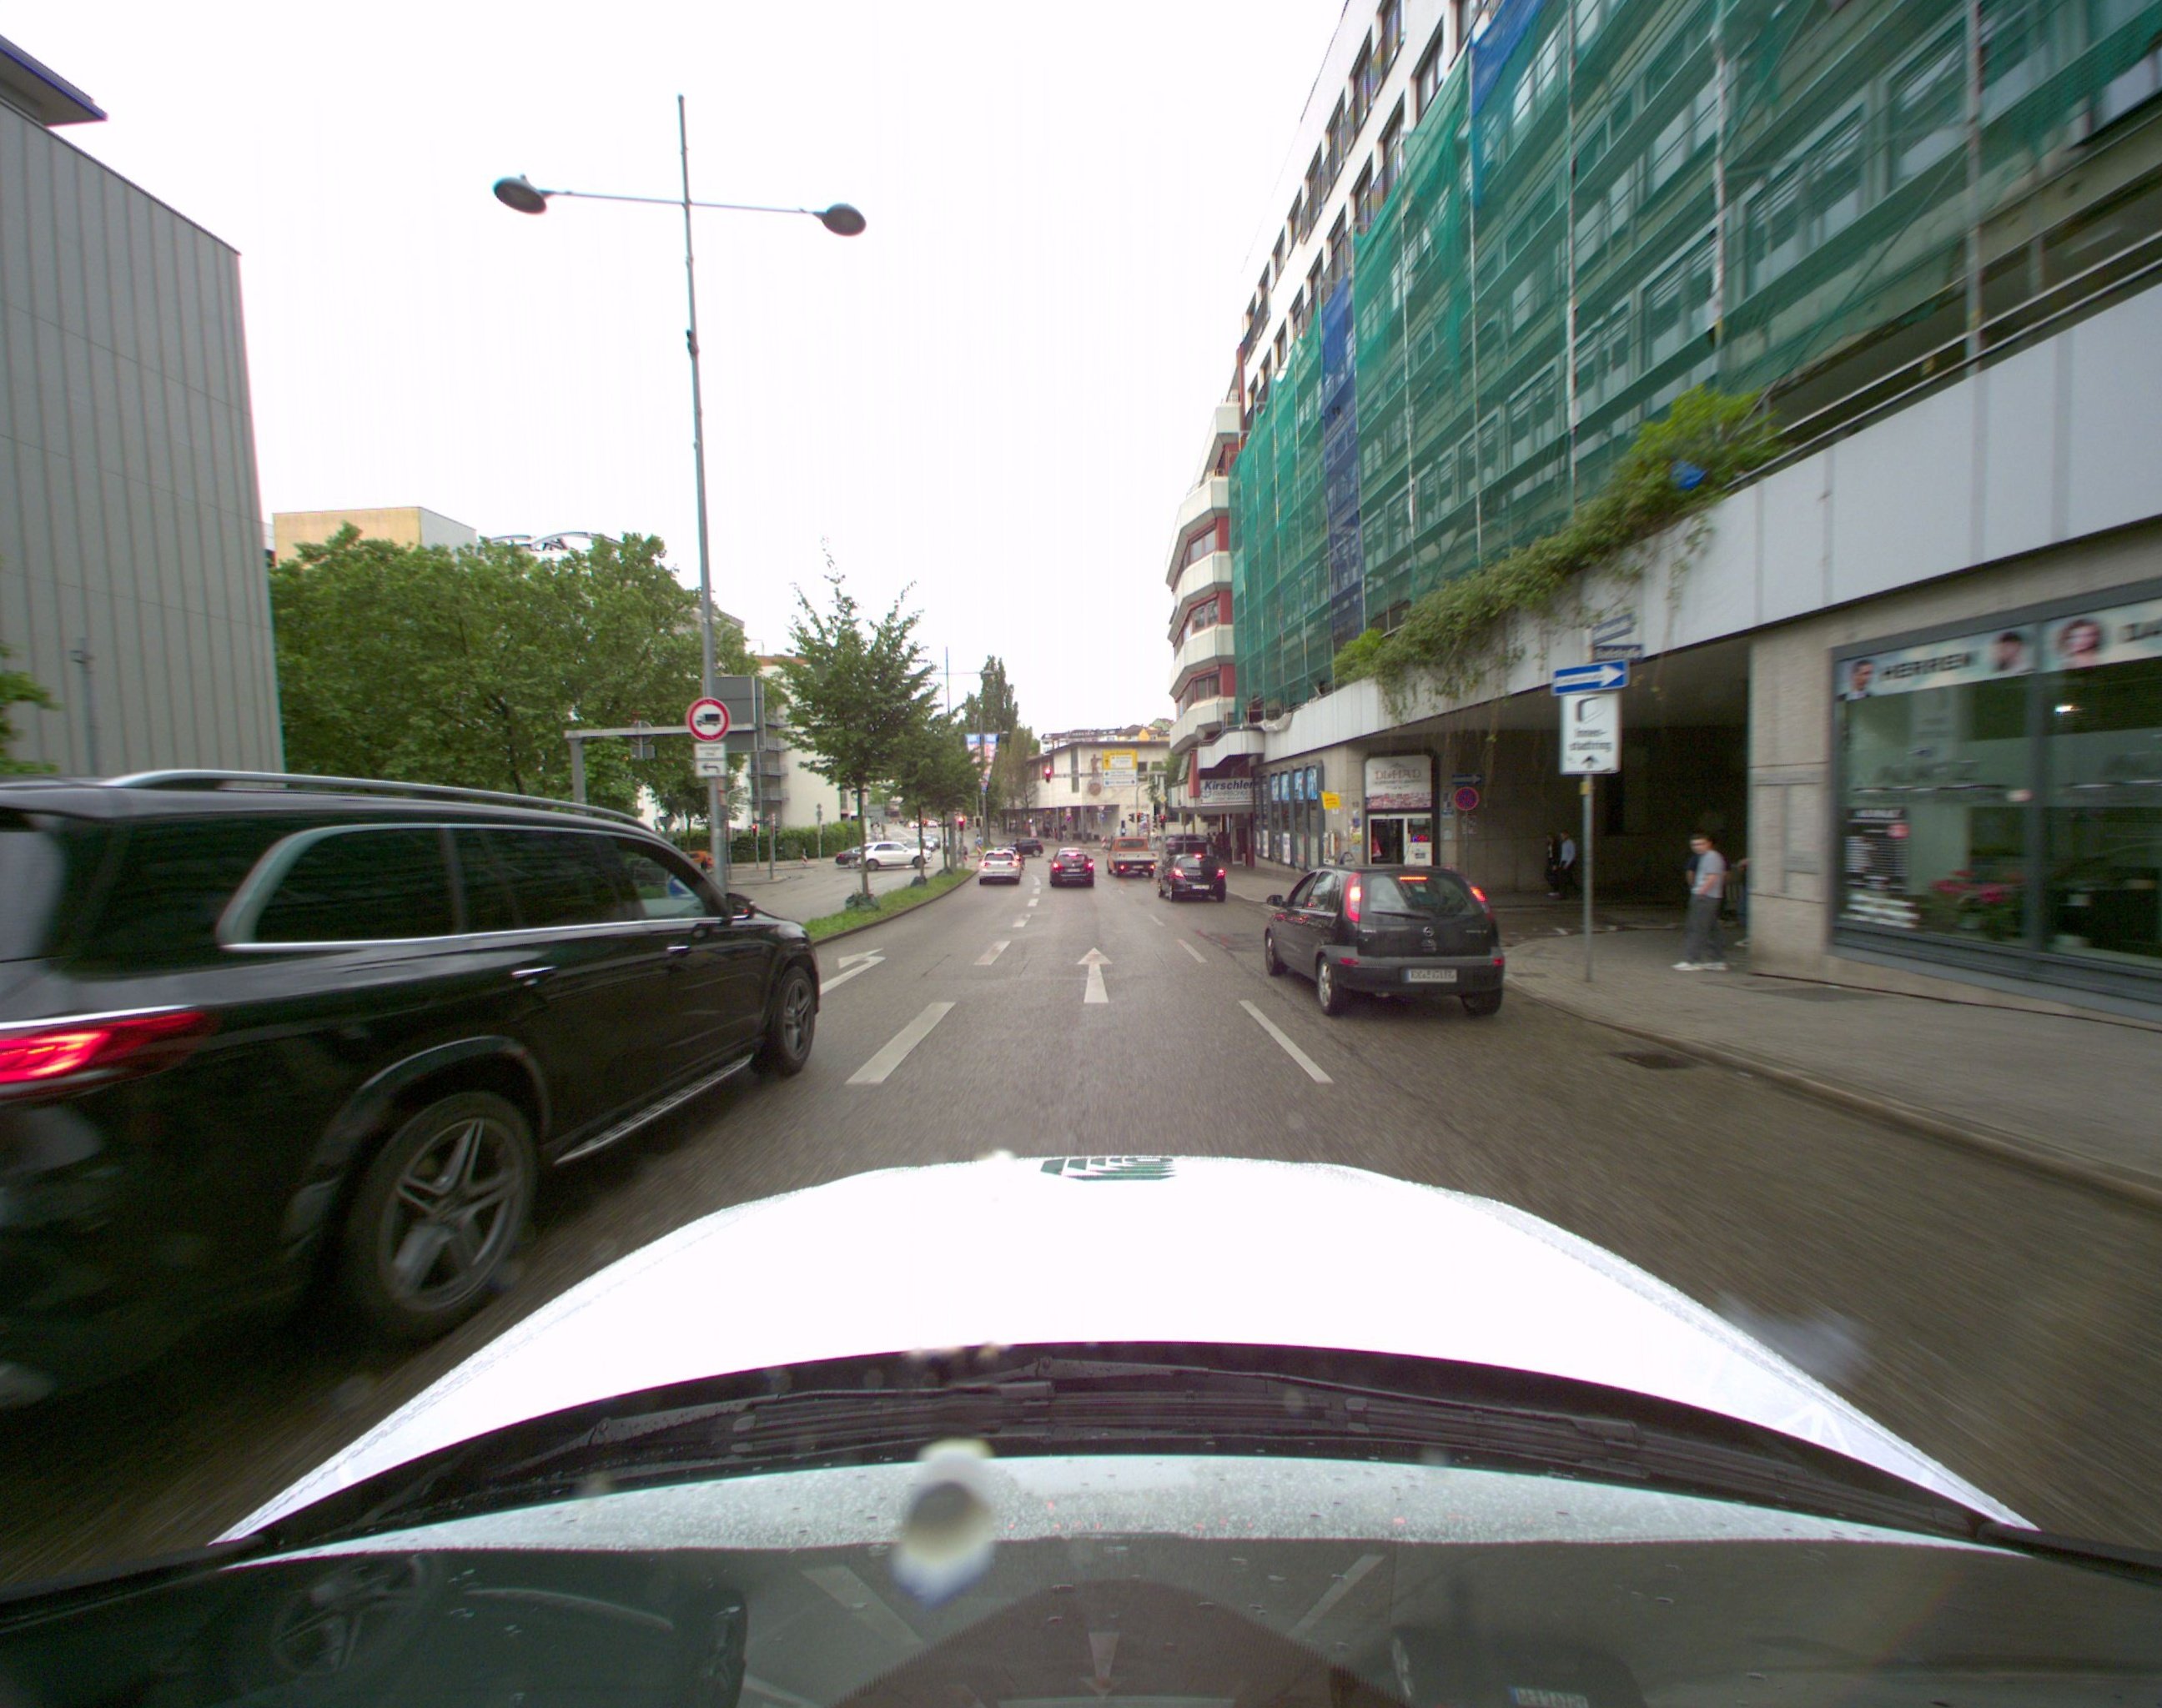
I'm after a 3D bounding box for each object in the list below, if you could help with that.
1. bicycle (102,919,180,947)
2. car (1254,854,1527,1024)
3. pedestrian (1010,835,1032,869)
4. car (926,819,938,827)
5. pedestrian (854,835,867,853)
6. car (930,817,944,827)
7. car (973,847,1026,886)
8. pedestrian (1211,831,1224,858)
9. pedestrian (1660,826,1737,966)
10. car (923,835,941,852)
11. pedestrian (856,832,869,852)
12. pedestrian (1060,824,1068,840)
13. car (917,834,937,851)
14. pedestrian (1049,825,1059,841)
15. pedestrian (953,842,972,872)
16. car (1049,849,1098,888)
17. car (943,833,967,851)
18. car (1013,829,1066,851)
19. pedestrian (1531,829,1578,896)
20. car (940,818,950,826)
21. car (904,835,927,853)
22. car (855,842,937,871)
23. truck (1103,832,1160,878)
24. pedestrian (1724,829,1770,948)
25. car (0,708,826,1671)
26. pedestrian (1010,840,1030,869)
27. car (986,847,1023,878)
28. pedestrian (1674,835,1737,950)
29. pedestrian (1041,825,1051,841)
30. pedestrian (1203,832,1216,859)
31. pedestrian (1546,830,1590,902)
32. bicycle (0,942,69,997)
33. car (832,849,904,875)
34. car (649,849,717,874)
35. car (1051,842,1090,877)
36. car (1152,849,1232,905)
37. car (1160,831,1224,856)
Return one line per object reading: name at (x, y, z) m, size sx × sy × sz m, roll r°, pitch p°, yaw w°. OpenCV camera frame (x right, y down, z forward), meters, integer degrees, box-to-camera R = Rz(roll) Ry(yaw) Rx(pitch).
bicycle at (-34.397, 2.871, 29.813) m, size 1.877 × 0.891 × 0.748 m, roll -2°, pitch 0°, yaw -4°
car at (3.071, 0.729, 8.922) m, size 1.710 × 1.420 × 3.773 m, roll 0°, pitch 1°, yaw 3°
pedestrian at (-3.438, -0.126, 46.871) m, size 1.058 × 1.882 × 0.840 m, roll -3°, pitch 1°, yaw 5°
car at (-30.911, -6.454, 168.637) m, size 1.998 × 1.596 × 3.978 m, roll -2°, pitch 1°, yaw -16°
pedestrian at (-20.286, -0.908, 75.003) m, size 0.931 × 1.608 × 0.557 m, roll -4°, pitch 1°, yaw -42°
car at (-31.572, -7.027, 178.719) m, size 2.003 × 2.013 × 3.969 m, roll -2°, pitch 1°, yaw -24°
car at (-3.598, 0.505, 36.454) m, size 1.944 × 1.574 × 3.999 m, roll -2°, pitch 1°, yaw -1°
pedestrian at (8.819, -0.596, 52.661) m, size 0.577 × 1.699 × 0.647 m, roll -3°, pitch 0°, yaw -15°
pedestrian at (7.635, 0.505, 10.075) m, size 0.635 × 1.649 × 0.566 m, roll -4°, pitch -1°, yaw 41°
car at (-15.792, -1.154, 86.377) m, size 1.705 × 1.720 × 3.987 m, roll -2°, pitch 1°, yaw -9°
pedestrian at (-20.558, -1.143, 76.502) m, size 0.911 × 1.802 × 0.620 m, roll -4°, pitch 1°, yaw -42°
pedestrian at (-2.002, -2.511, 94.857) m, size 0.704 × 1.802 × 0.934 m, roll -3°, pitch 1°, yaw -15°
car at (-15.046, -1.093, 79.684) m, size 1.777 × 1.549 × 3.987 m, roll -2°, pitch 1°, yaw -9°
pedestrian at (-3.124, -2.432, 94.223) m, size 0.848 × 1.802 × 1.051 m, roll -3°, pitch 1°, yaw -15°
pedestrian at (-7.082, 0.176, 48.606) m, size 0.831 × 1.722 × 0.820 m, roll -3°, pitch 1°, yaw 5°
car at (-0.376, 0.580, 34.439) m, size 1.809 × 1.440 × 3.994 m, roll 0°, pitch 2°, yaw -5°
car at (-11.245, -1.063, 73.100) m, size 1.817 × 1.549 × 3.993 m, roll -2°, pitch 1°, yaw -5°
car at (-3.208, -1.091, 62.424) m, size 3.980 × 1.527 × 1.844 m, roll -2°, pitch 1°, yaw -5°
pedestrian at (12.874, 0.225, 22.150) m, size 0.716 × 1.721 × 0.769 m, roll -1°, pitch 7°, yaw -3°
car at (-28.715, -6.793, 171.725) m, size 1.835 × 1.588 × 3.854 m, roll -2°, pitch 1°, yaw -15°
car at (-14.623, -0.893, 72.203) m, size 1.705 × 1.451 × 3.851 m, roll -2°, pitch 1°, yaw -8°
car at (-11.918, 0.134, 52.703) m, size 5.077 × 1.759 × 1.991 m, roll -1°, pitch 0°, yaw -13°
truck at (2.476, 0.011, 41.575) m, size 2.179 × 2.082 × 5.596 m, roll -2°, pitch 1°, yaw -4°
pedestrian at (10.091, 0.502, 12.347) m, size 0.508 × 1.735 × 0.643 m, roll -1°, pitch 2°, yaw 39°
car at (-3.040, 0.597, 3.915) m, size 2.080 × 1.817 × 4.793 m, roll 0°, pitch 1°, yaw 0°
pedestrian at (-3.745, 0.050, 50.180) m, size 1.006 × 1.722 × 0.839 m, roll -3°, pitch 1°, yaw 4°
car at (-3.971, 0.403, 42.876) m, size 1.790 × 1.468 × 3.995 m, roll -2°, pitch 1°, yaw -4°
pedestrian at (9.286, 0.558, 12.125) m, size 0.593 × 1.662 × 0.578 m, roll -1°, pitch 2°, yaw 21°
pedestrian at (-4.059, -2.382, 94.478) m, size 0.800 × 1.802 × 0.913 m, roll -3°, pitch 1°, yaw -15°
pedestrian at (8.256, -0.568, 52.224) m, size 0.576 × 1.699 × 0.648 m, roll -3°, pitch 0°, yaw -11°
pedestrian at (12.727, 0.299, 21.312) m, size 0.614 × 1.778 × 0.838 m, roll -3°, pitch 6°, yaw -3°
bicycle at (-24.360, 2.652, 18.021) m, size 0.610 × 1.086 × 2.670 m, roll -2°, pitch 0°, yaw -1°
car at (-14.613, 0.540, 55.955) m, size 4.691 × 1.643 × 1.777 m, roll -1°, pitch 0°, yaw -16°
car at (-28.423, 0.524, 58.291) m, size 4.000 × 1.616 × 1.767 m, roll -2°, pitch 0°, yaw -13°
car at (-0.563, 0.249, 41.041) m, size 1.757 × 1.542 × 3.996 m, roll -2°, pitch 2°, yaw -3°
car at (3.486, 0.657, 26.259) m, size 1.944 × 1.574 × 3.998 m, roll -2°, pitch 1°, yaw -1°
car at (7.913, -0.729, 58.185) m, size 4.152 × 1.657 × 1.834 m, roll -2°, pitch 0°, yaw -13°
